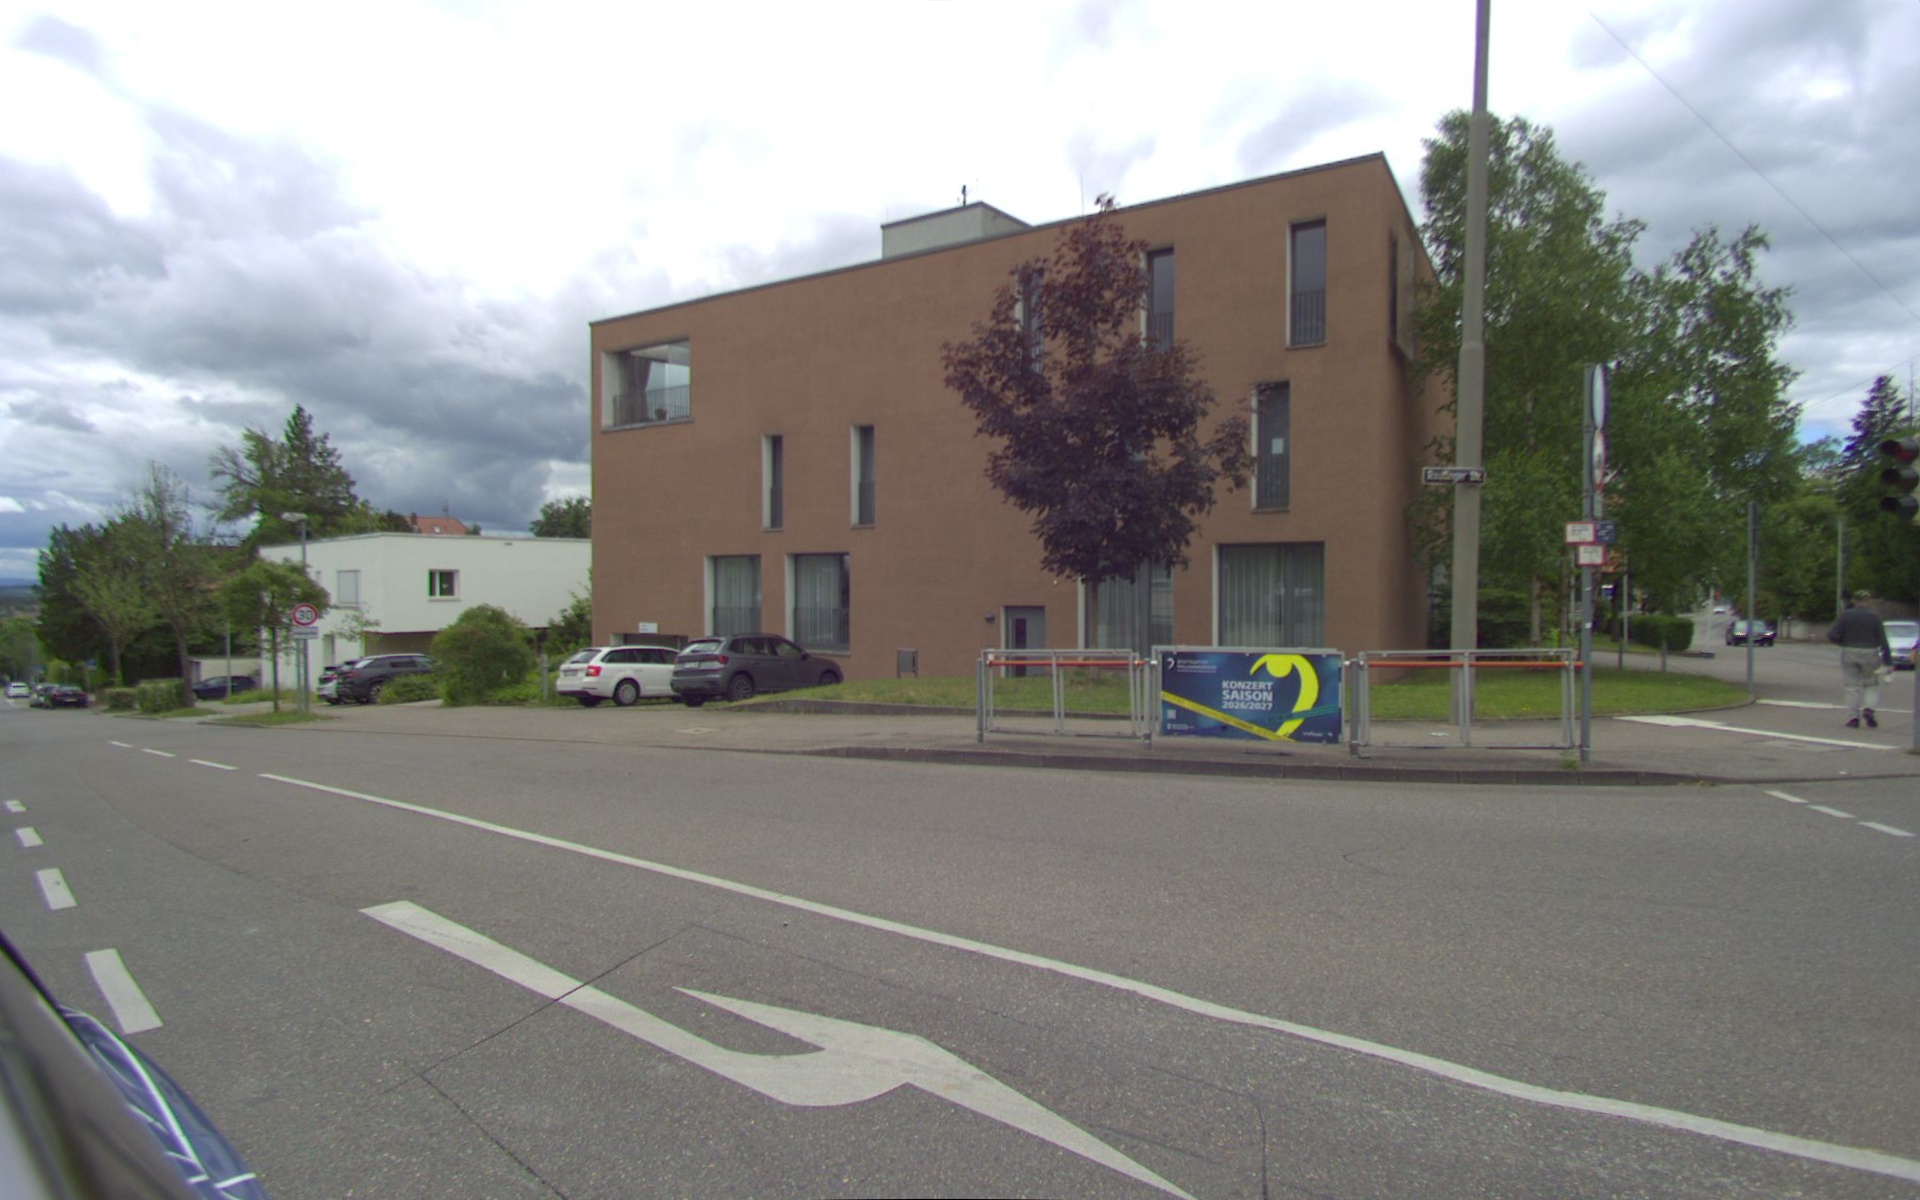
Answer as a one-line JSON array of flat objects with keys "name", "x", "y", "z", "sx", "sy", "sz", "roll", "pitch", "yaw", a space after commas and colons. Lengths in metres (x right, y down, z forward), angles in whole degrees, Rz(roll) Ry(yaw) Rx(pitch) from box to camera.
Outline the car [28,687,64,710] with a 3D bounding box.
[{"name": "car", "x": -61.555, "y": 6.631, "z": 68.151, "sx": 1.638, "sy": 1.432, "sz": 4.371, "roll": 0, "pitch": -4, "yaw": -44}]

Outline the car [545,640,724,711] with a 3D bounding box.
[{"name": "car", "x": -7.998, "y": 1.837, "z": 25.124, "sx": 1.724, "sy": 1.497, "sz": 3.950, "roll": -5, "pitch": -4, "yaw": 37}]

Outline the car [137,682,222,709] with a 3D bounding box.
[{"name": "car", "x": -46.970, "y": 5.739, "z": 60.937, "sx": 3.939, "sy": 1.296, "sz": 1.665, "roll": 0, "pitch": -4, "yaw": -43}]

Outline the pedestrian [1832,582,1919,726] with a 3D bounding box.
[{"name": "pedestrian", "x": 10.962, "y": 0.637, "z": 12.074, "sx": 0.728, "sy": 1.646, "sz": 0.684, "roll": 1, "pitch": -3, "yaw": -40}]

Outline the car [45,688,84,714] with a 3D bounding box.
[{"name": "car", "x": -54.933, "y": 6.172, "z": 62.072, "sx": 1.638, "sy": 1.432, "sz": 4.003, "roll": 0, "pitch": -4, "yaw": -44}]

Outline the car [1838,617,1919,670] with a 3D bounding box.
[{"name": "car", "x": 28.155, "y": 1.263, "z": 30.484, "sx": 1.703, "sy": 1.424, "sz": 4.380, "roll": -2, "pitch": -1, "yaw": 30}]

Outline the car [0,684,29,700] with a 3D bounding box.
[{"name": "car", "x": -95.904, "y": 9.301, "z": 102.358, "sx": 4.362, "sy": 1.432, "sz": 1.861, "roll": -3, "pitch": -3, "yaw": 38}]

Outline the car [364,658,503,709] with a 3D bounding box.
[{"name": "car", "x": -18.232, "y": 2.879, "z": 35.151, "sx": 1.727, "sy": 1.497, "sz": 3.943, "roll": -6, "pitch": -4, "yaw": 43}]

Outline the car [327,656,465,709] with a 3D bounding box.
[{"name": "car", "x": -19.974, "y": 2.900, "z": 35.936, "sx": 1.793, "sy": 1.608, "sz": 3.943, "roll": -6, "pitch": -4, "yaw": 43}]

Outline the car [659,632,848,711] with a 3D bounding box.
[{"name": "car", "x": -4.502, "y": 1.549, "z": 22.524, "sx": 1.724, "sy": 1.497, "sz": 3.950, "roll": -5, "pitch": -4, "yaw": 37}]

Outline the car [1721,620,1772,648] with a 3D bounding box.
[{"name": "car", "x": 44.886, "y": 1.928, "z": 57.810, "sx": 1.825, "sy": 1.547, "sz": 3.957, "roll": -1, "pitch": -2, "yaw": 31}]
